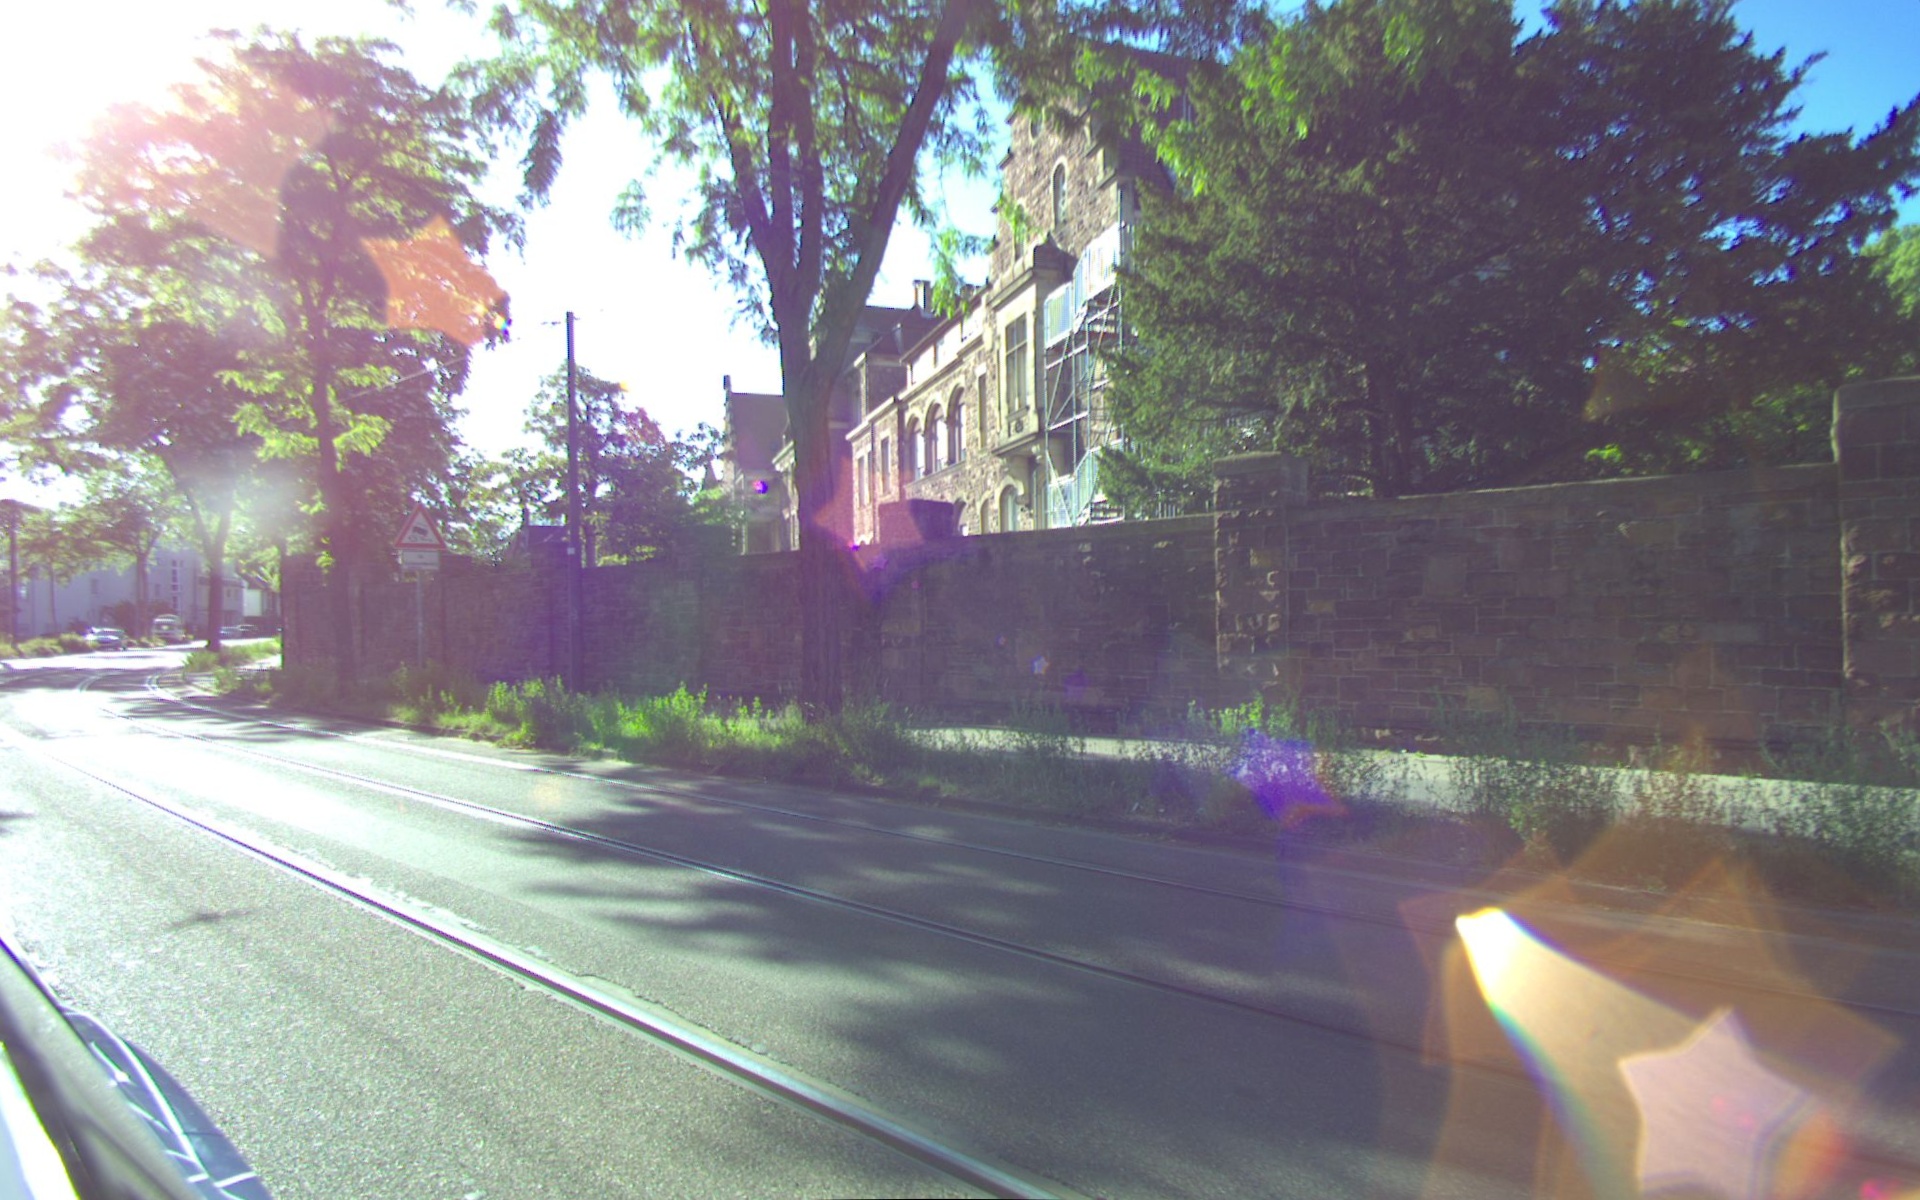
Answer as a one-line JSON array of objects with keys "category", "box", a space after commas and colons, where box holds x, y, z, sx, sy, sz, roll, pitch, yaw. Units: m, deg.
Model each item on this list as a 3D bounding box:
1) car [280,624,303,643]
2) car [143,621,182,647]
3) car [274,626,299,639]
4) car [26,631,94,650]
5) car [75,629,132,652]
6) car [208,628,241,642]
[{"category": "car", "box": [-66.176, 3.261, 100.261, 1.610, 1.806, 4.351, 0, -1, -30]}, {"category": "car", "box": [-67.925, 2.857, 86.299, 1.966, 2.111, 4.730, 0, -1, -30]}, {"category": "car", "box": [-90.043, 4.342, 135.327, 1.849, 1.530, 4.664, -1, -1, -21]}, {"category": "car", "box": [-80.645, 3.588, 90.667, 2.010, 1.501, 4.399, 3, 2, 43]}, {"category": "car", "box": [-59.239, 2.784, 70.094, 1.973, 1.476, 5.449, 3, -3, -30]}, {"category": "car", "box": [-82.337, 3.894, 113.363, 1.714, 1.507, 4.544, -1, -1, -20]}]
